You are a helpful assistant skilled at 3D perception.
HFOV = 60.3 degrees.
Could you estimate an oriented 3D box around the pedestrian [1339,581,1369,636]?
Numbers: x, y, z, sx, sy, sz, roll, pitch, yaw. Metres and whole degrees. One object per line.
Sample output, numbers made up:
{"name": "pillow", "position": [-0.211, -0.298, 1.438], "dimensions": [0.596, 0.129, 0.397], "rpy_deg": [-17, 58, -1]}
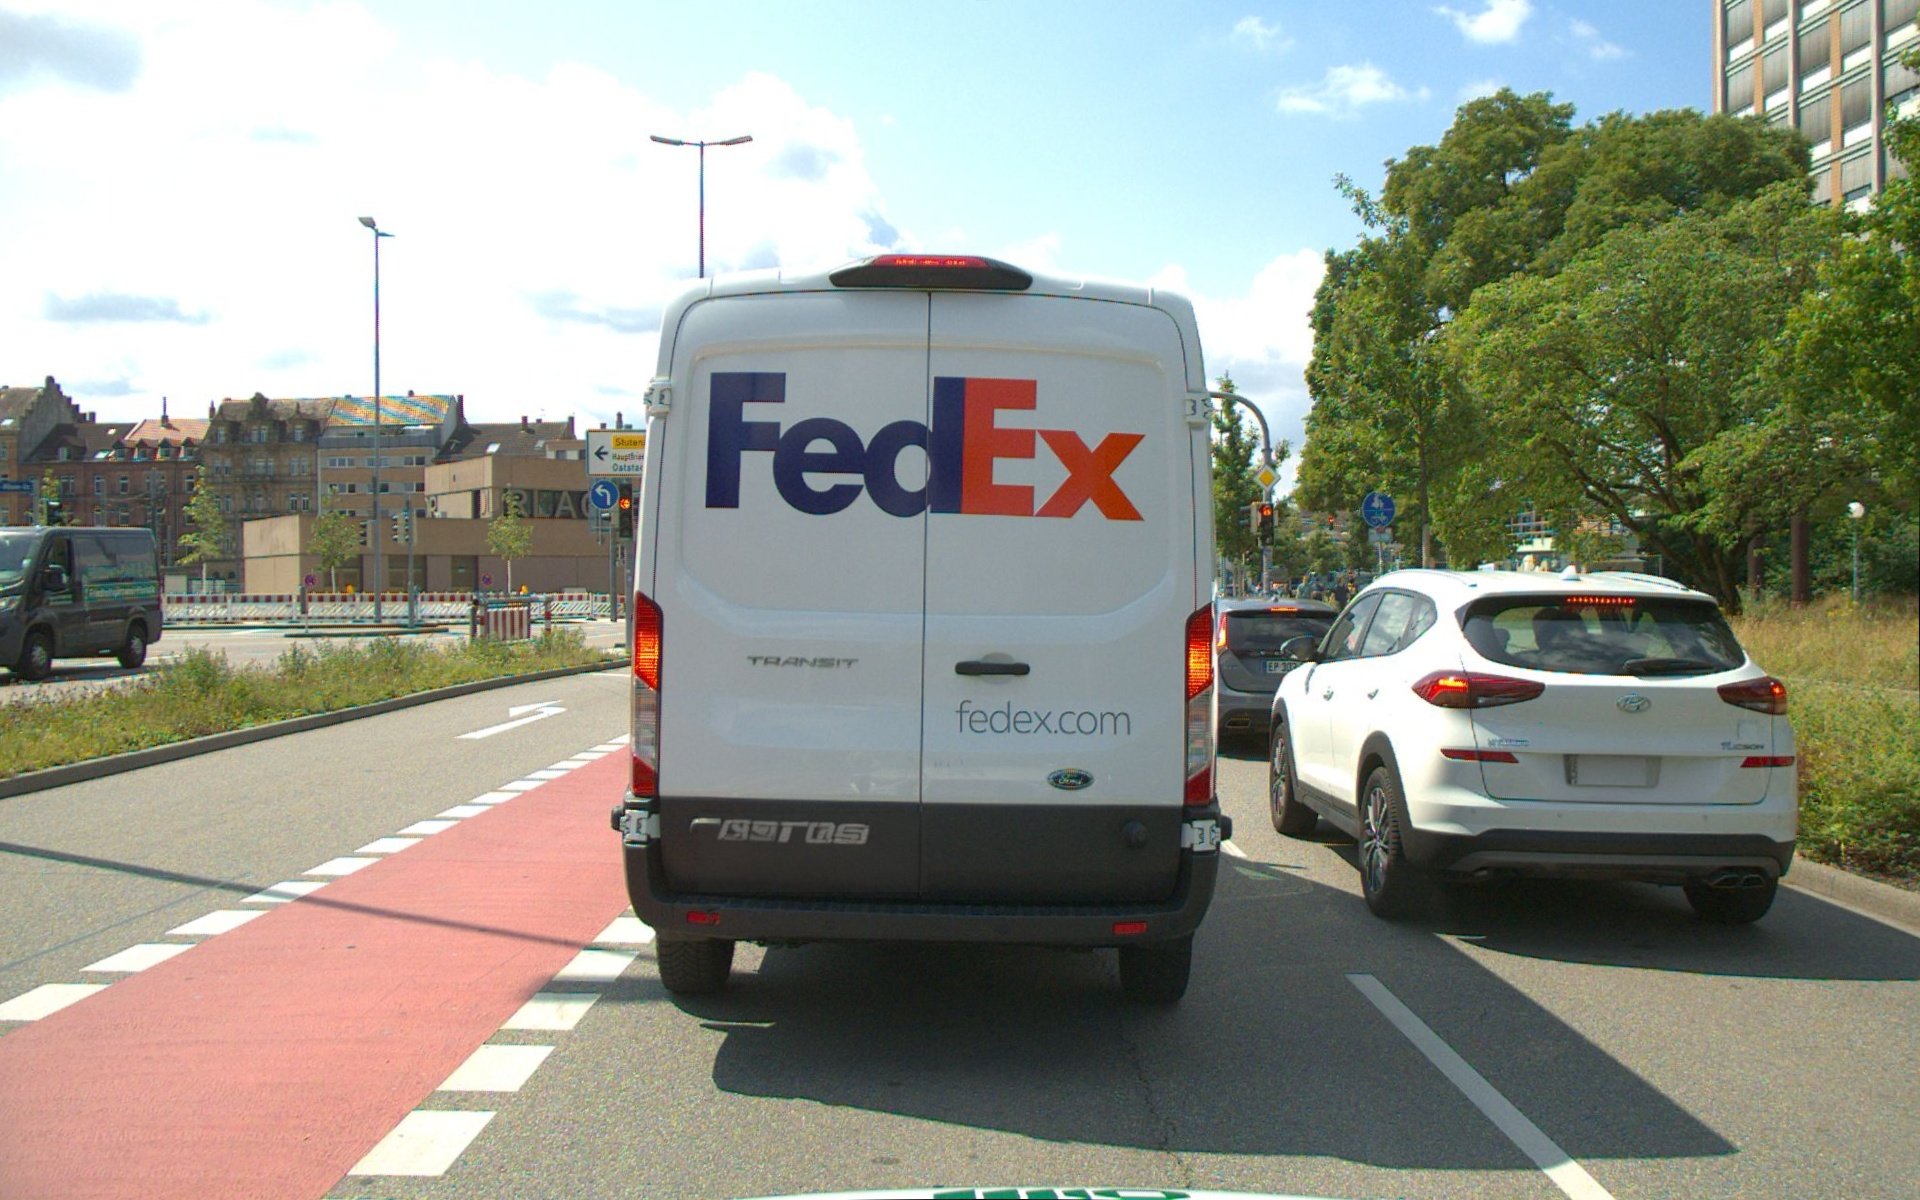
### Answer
{"name": "pedestrian", "position": [13.676, 0.274, 57.419], "dimensions": [0.745, 1.882, 0.814], "rpy_deg": [-1, 0, -10]}

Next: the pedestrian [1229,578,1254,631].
{"name": "pedestrian", "position": [10.197, 0.162, 60.016], "dimensions": [0.796, 1.882, 0.761], "rpy_deg": [0, 0, 2]}

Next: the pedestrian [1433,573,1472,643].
{"name": "pedestrian", "position": [11.989, 0.182, 40.293], "dimensions": [0.743, 1.684, 0.816], "rpy_deg": [0, 0, 3]}

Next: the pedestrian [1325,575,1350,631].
{"name": "pedestrian", "position": [12.513, 0.092, 54.865], "dimensions": [0.742, 1.820, 0.817], "rpy_deg": [0, 0, 7]}

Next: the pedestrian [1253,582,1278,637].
{"name": "pedestrian", "position": [10.508, 0.330, 56.822], "dimensions": [0.743, 1.882, 0.816], "rpy_deg": [0, 0, 18]}

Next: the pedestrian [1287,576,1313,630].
{"name": "pedestrian", "position": [11.861, 0.094, 57.682], "dimensions": [0.743, 1.882, 0.816], "rpy_deg": [0, 0, 1]}

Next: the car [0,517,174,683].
{"name": "car", "position": [-13.901, 0.012, 24.547], "dimensions": [2.105, 2.213, 5.017], "rpy_deg": [-2, 1, -2]}

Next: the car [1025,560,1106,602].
{"name": "car", "position": [7.453, -1.272, 115.889], "dimensions": [2.445, 2.765, 7.061], "rpy_deg": [1, 0, 34]}

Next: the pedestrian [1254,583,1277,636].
{"name": "pedestrian", "position": [10.946, 0.343, 59.184], "dimensions": [0.742, 1.882, 0.817], "rpy_deg": [0, 0, 14]}

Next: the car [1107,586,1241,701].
{"name": "car", "position": [2.951, 0.557, 23.354], "dimensions": [1.468, 1.489, 3.474], "rpy_deg": [0, 1, 1]}

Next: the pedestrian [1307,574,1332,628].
{"name": "pedestrian", "position": [12.774, 0.028, 58.838], "dimensions": [0.743, 1.882, 0.816], "rpy_deg": [0, 0, 3]}

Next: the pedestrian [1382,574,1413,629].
{"name": "pedestrian", "position": [14.948, 0.040, 56.492], "dimensions": [0.745, 1.882, 0.814], "rpy_deg": [0, 0, -9]}

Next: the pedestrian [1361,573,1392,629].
{"name": "pedestrian", "position": [14.178, 0.028, 56.299], "dimensions": [0.745, 1.882, 0.814], "rpy_deg": [-1, 0, -11]}

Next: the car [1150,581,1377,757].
{"name": "car", "position": [2.957, 0.601, 16.804], "dimensions": [1.656, 1.576, 3.721], "rpy_deg": [0, 1, 1]}

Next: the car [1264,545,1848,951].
{"name": "car", "position": [2.884, 0.603, 8.976], "dimensions": [1.777, 1.708, 3.974], "rpy_deg": [0, 1, 1]}

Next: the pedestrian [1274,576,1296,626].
{"name": "pedestrian", "position": [12.441, 0.039, 63.268], "dimensions": [0.742, 1.882, 0.817], "rpy_deg": [0, 0, 5]}

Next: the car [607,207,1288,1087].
{"name": "car", "position": [-0.008, 0.118, 7.176], "dimensions": [2.030, 2.626, 4.428], "rpy_deg": [0, 1, 1]}
